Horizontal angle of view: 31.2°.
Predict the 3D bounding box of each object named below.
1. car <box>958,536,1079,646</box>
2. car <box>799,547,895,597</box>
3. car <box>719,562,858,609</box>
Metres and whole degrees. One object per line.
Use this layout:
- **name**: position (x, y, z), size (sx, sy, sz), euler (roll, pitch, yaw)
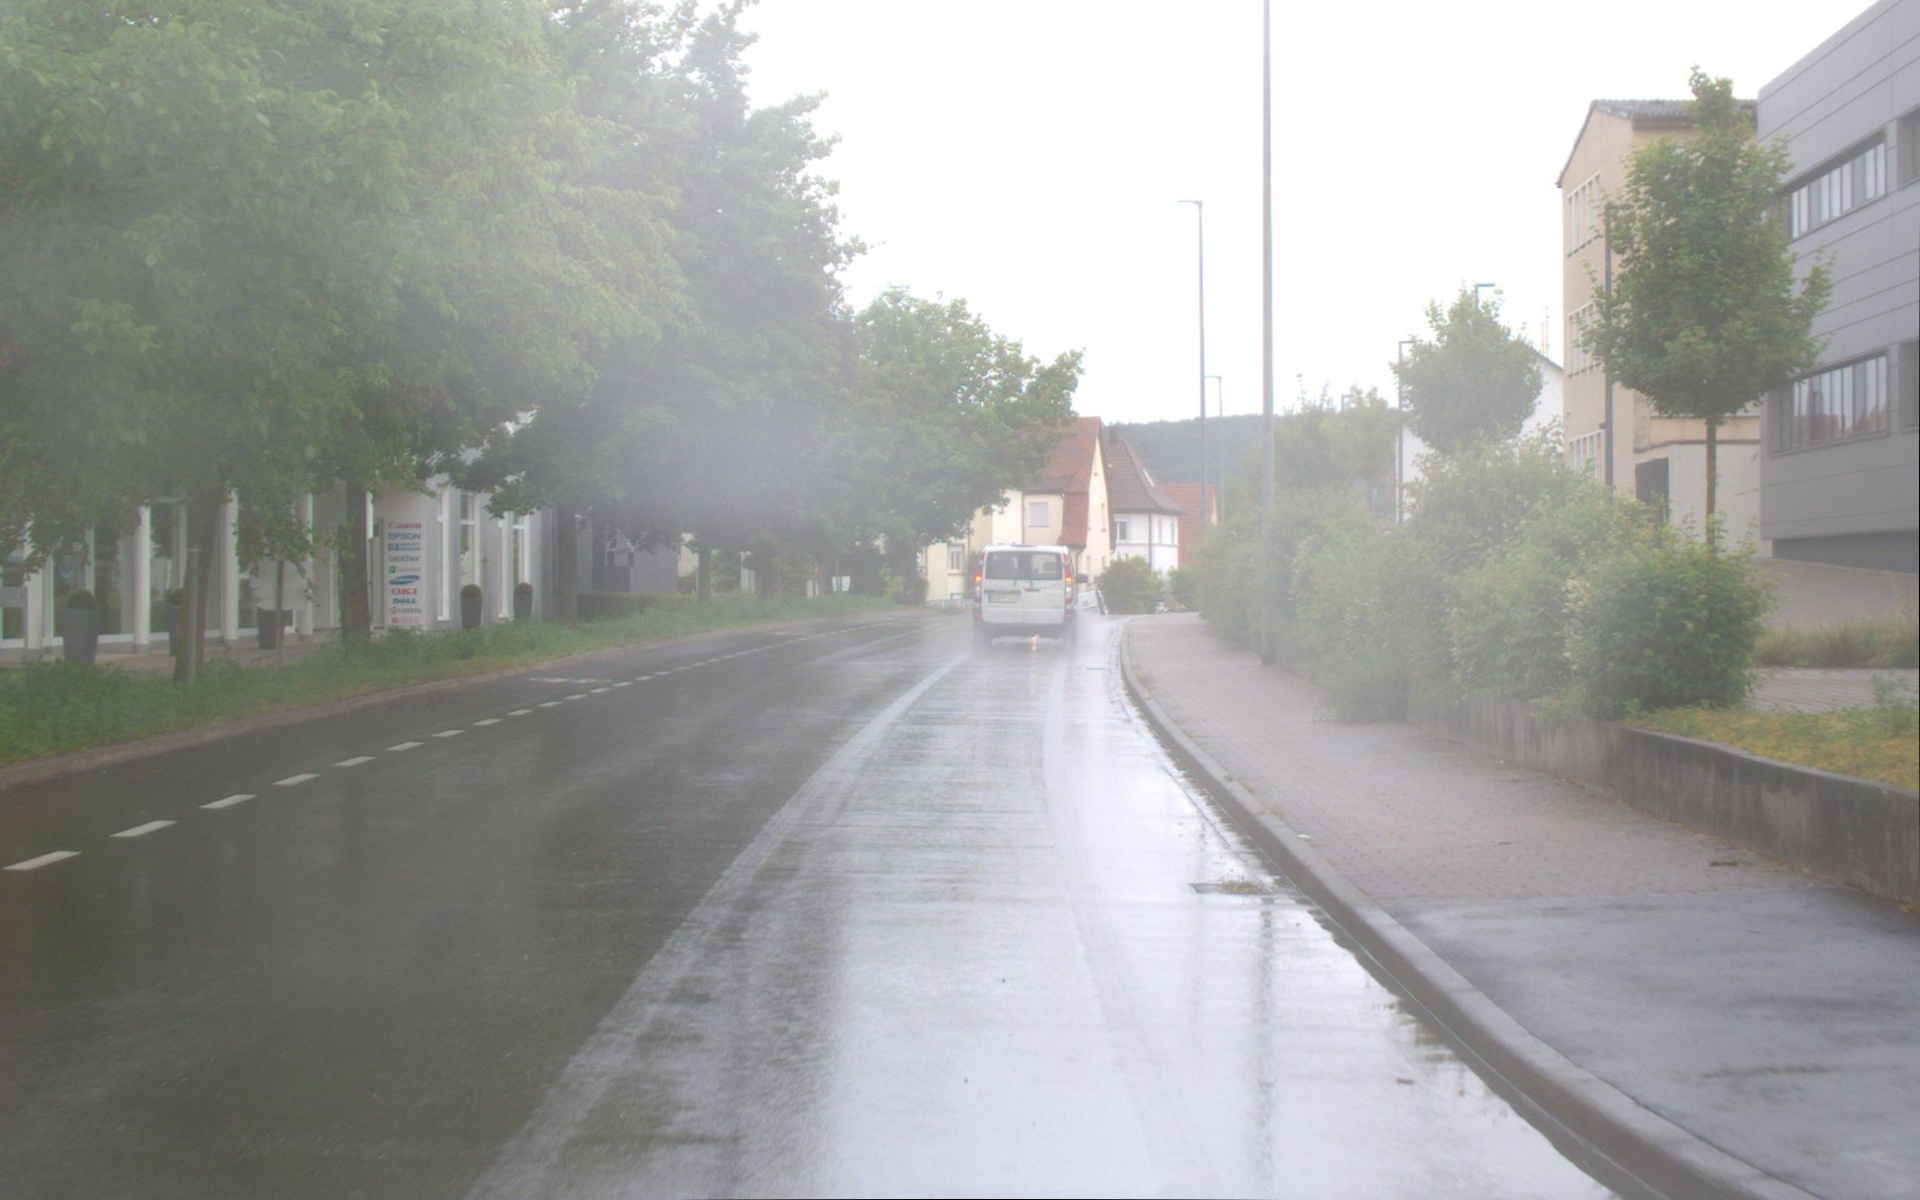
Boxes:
- **car**: position (1.062, -0.206, 63.301), size (2.117, 1.881, 4.502), euler (1, 2, 0)
- **car**: position (-3.600, -0.882, 109.456), size (2.908, 1.450, 1.253), euler (-2, -2, 5)
- **car**: position (-5.029, -0.420, 101.221), size (3.900, 1.280, 1.581), euler (-2, -1, 5)
